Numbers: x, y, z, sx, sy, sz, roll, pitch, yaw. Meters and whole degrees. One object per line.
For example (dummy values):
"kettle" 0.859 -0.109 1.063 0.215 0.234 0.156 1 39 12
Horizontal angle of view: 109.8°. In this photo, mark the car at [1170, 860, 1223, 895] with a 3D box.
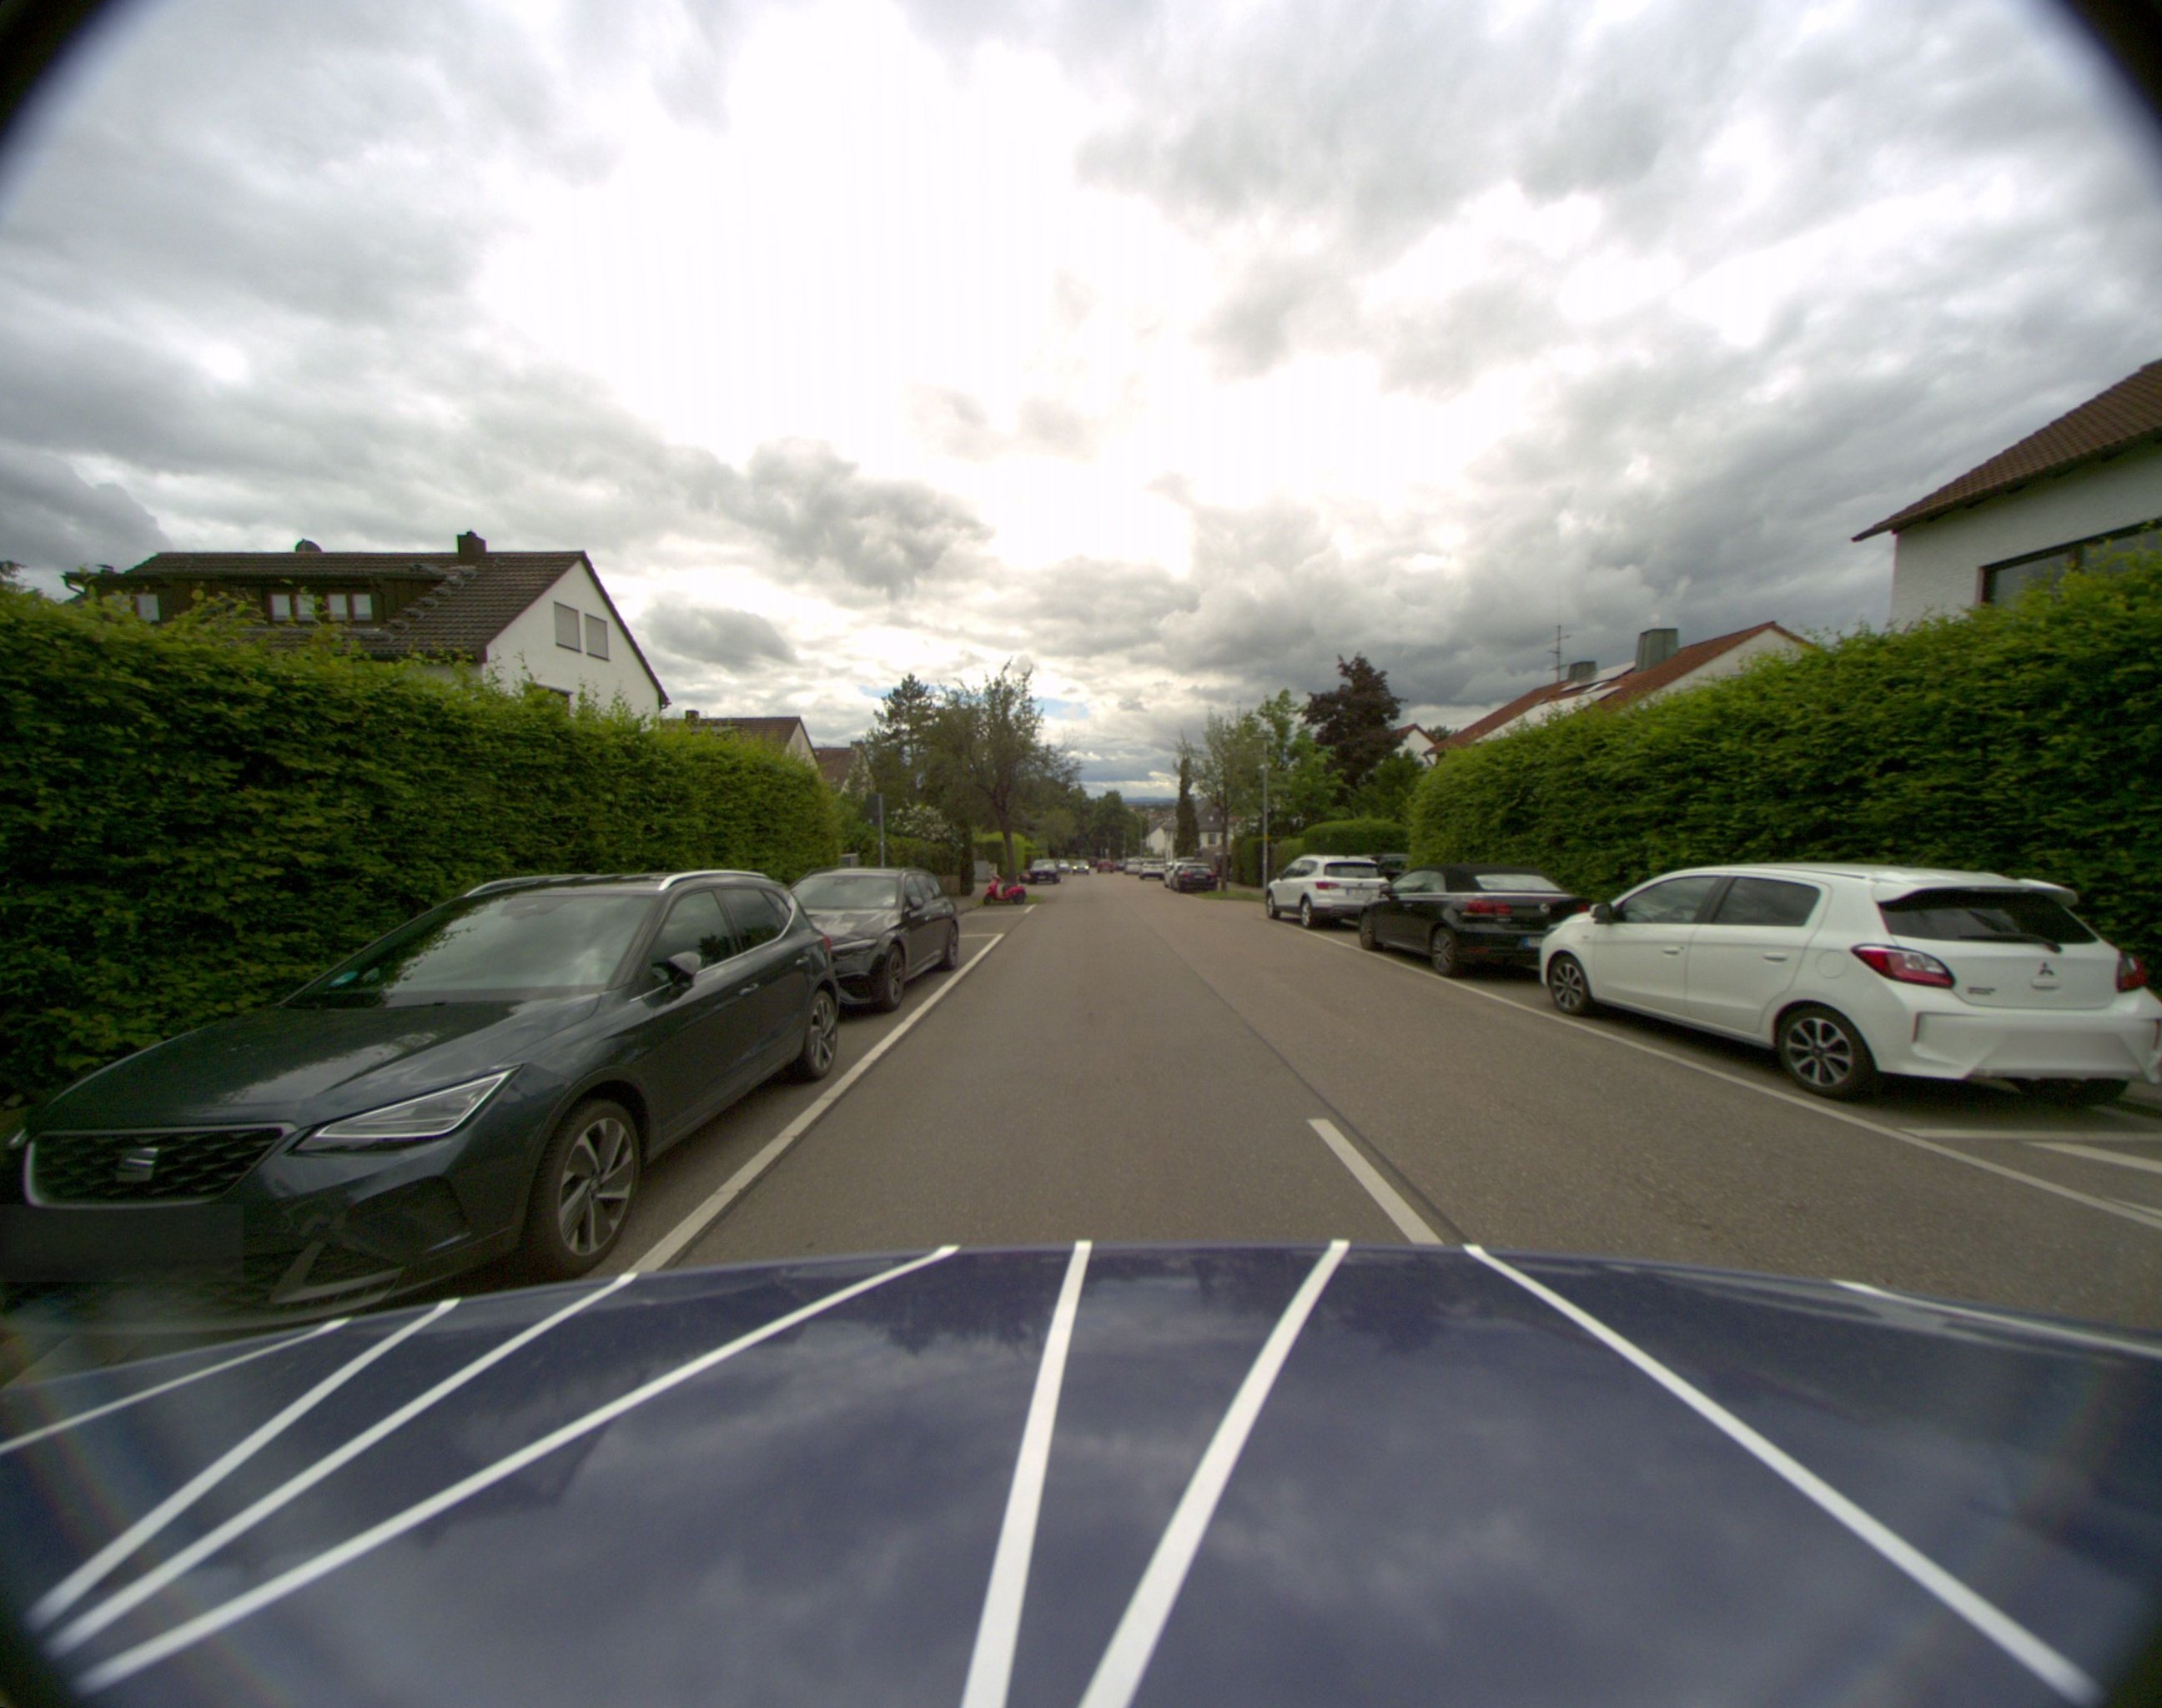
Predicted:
"car" 5.441 1.095 36.315 1.944 1.540 4.005 0 0 0

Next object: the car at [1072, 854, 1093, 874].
"car" 0.203 1.051 82.215 1.998 2.002 4.000 -2 0 2

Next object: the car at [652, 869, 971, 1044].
"car" -2.834 0.979 9.509 1.928 1.485 5.209 0 0 3

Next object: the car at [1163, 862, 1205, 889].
"car" 5.540 1.141 41.353 1.725 1.368 4.000 0 0 0

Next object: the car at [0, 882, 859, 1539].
"car" -2.736 0.971 4.078 1.794 1.480 4.378 0 0 0

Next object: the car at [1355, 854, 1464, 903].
"car" 10.534 0.771 24.498 2.887 1.497 1.499 0 0 4

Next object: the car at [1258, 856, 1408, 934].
"car" 5.363 0.799 16.841 1.891 1.481 4.342 0 0 0

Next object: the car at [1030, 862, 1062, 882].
"car" -2.357 1.222 51.727 1.998 1.221 3.999 -1 1 0

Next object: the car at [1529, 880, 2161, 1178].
"car" 5.341 0.999 5.820 1.694 1.411 3.579 2 0 1

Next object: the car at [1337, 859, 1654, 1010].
"car" 5.307 0.895 10.639 1.786 1.481 4.738 3 1 0

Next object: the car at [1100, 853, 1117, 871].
"car" 3.342 0.920 91.942 1.872 2.002 4.000 -3 0 0

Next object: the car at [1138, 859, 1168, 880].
"car" 5.612 1.187 59.720 1.935 1.521 3.999 -1 1 0

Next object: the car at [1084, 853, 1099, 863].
"car" 1.838 0.715 132.870 2.000 1.712 3.997 0 0 -8

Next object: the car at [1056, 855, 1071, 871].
"car" -2.281 1.148 99.579 1.747 2.002 4.000 -3 0 1

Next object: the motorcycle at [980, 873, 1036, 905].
"motorcycle" -2.669 1.279 27.851 1.942 1.127 0.658 1 0 -27
